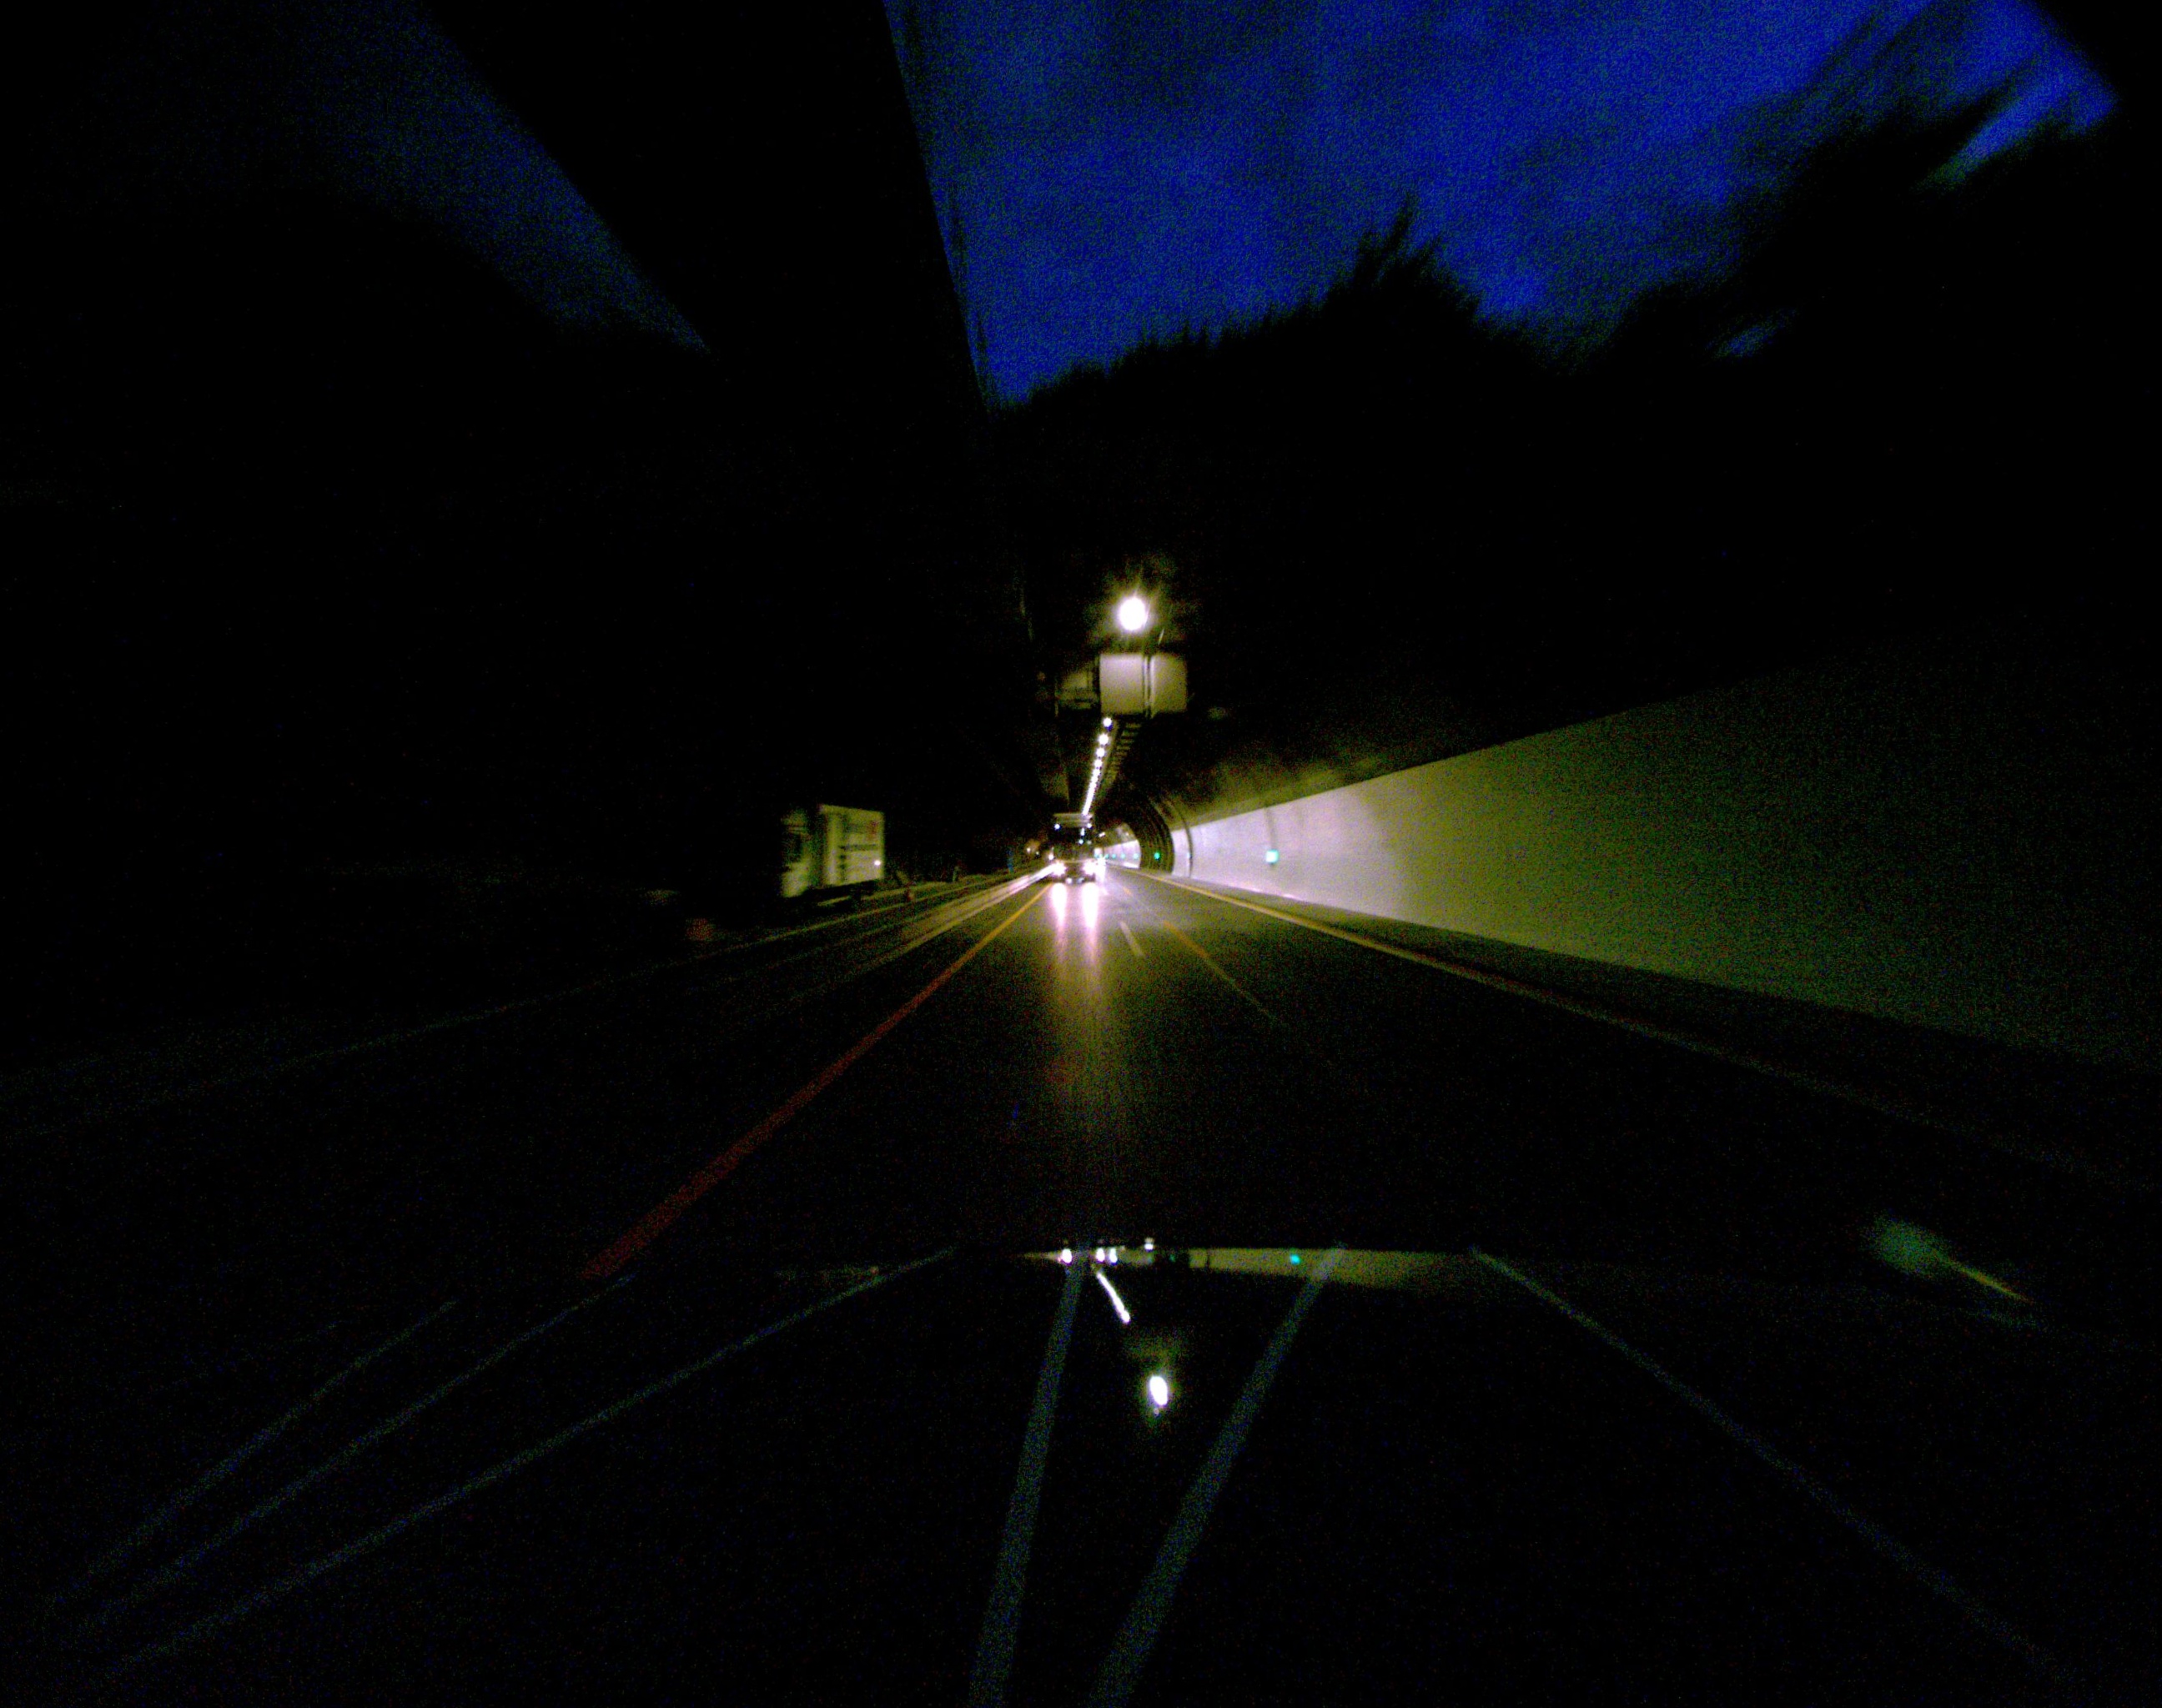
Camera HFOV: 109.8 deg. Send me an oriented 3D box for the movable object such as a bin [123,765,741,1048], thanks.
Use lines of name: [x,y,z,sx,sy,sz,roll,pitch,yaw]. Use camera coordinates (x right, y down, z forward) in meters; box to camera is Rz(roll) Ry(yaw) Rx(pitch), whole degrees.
movable object such as a bin: [-8.340,0.508,11.490,2.977,2.811,7.195,-3,1,0]

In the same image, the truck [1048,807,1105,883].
truck: [-0.097,-0.582,49.512,2.953,4.241,11.053,-3,1,3]

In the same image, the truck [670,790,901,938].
truck: [-7.784,0.179,21.656,2.824,3.267,8.353,-3,1,3]

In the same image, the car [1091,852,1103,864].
car: [2.342,0.514,109.631,1.662,1.586,3.996,-3,1,2]
